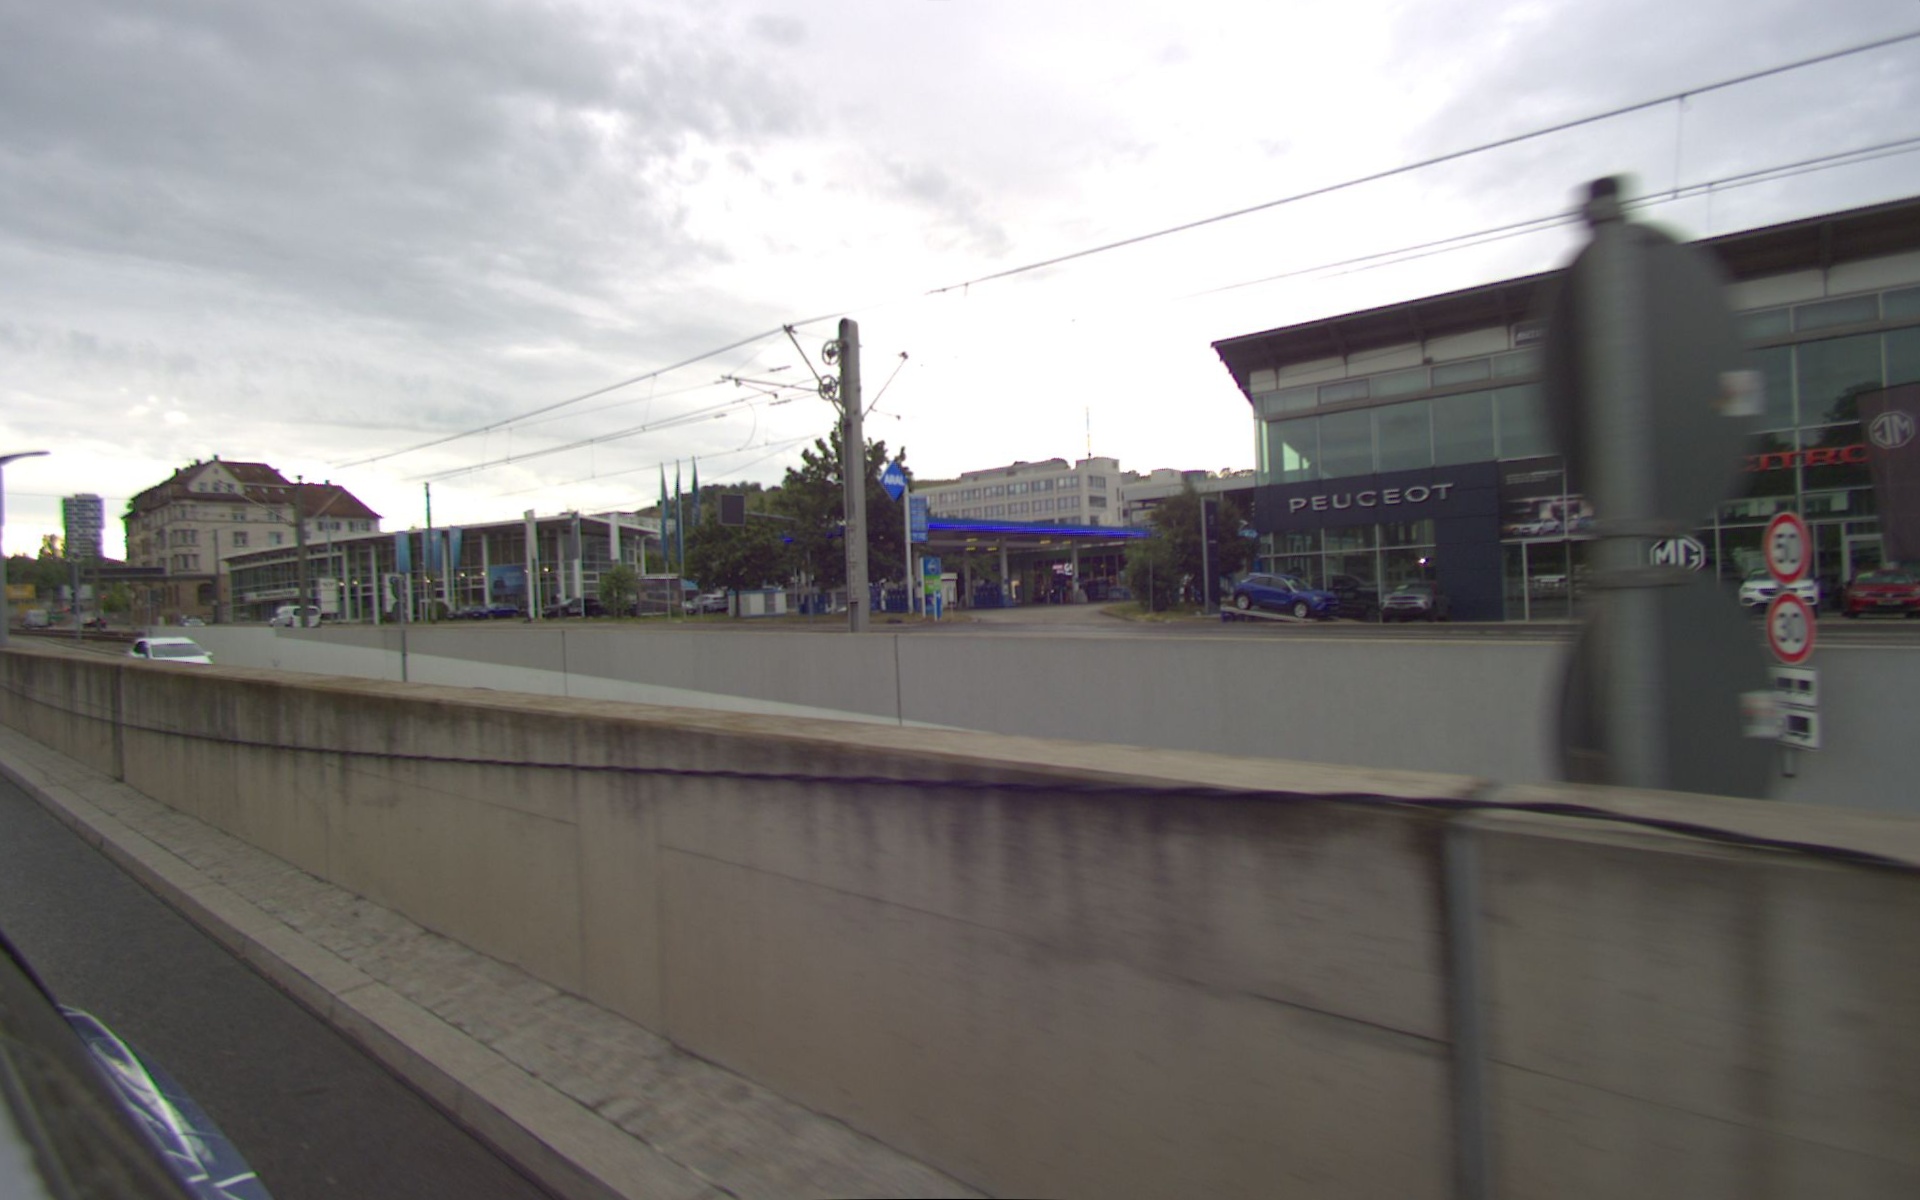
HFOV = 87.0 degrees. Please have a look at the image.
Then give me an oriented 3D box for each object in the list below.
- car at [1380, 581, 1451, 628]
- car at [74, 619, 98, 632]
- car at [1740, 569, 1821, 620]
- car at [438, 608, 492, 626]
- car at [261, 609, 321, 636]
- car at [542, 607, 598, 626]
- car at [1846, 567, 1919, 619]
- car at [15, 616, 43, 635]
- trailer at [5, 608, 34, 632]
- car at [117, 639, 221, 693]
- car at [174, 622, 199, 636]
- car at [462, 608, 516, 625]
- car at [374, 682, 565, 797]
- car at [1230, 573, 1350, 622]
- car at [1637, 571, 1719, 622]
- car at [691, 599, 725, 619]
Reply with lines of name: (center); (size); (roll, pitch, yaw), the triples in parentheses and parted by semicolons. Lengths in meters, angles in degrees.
car: (16.493, 0.204, 36.551); (1.572, 1.413, 3.469); (-3, -6, 37)
car: (-110.487, 3.185, 127.933); (4.337, 1.527, 1.723); (-1, 0, 41)
car: (24.466, -0.168, 30.147); (1.749, 1.407, 3.444); (-2, -1, 41)
car: (-41.302, 1.385, 84.512); (1.690, 1.244, 3.974); (-3, 0, 20)
car: (-44.898, 1.520, 67.854); (5.031, 1.708, 1.980); (-2, 0, 40)
car: (-29.399, 1.256, 76.326); (1.717, 1.284, 3.476); (-1, 1, 45)
car: (26.508, -0.177, 28.846); (1.616, 1.392, 3.447); (-2, -1, 37)
car: (-129.003, 3.532, 140.178); (6.160, 2.618, 2.030); (-1, 0, 40)
trailer: (-163.597, 3.474, 176.023); (9.077, 4.082, 2.656); (-1, 0, 40)
car: (-26.266, 2.127, 33.552); (4.317, 1.585, 1.956); (-2, -1, 41)
car: (-75.474, 2.819, 98.725); (2.798, 1.309, 1.368); (-2, 1, 40)
car: (-38.873, 1.333, 83.593); (1.747, 1.244, 3.974); (-1, 1, 20)
car: (-8.816, 2.377, 18.071); (3.894, 1.585, 1.686); (-2, -1, 41)
car: (12.733, -0.152, 39.185); (1.740, 1.621, 4.073); (-2, 5, -42)
car: (22.446, -0.108, 31.598); (1.749, 1.485, 3.444); (-2, -1, 41)
car: (-21.239, 0.738, 85.366); (2.798, 1.584, 1.368); (-2, 0, 39)
